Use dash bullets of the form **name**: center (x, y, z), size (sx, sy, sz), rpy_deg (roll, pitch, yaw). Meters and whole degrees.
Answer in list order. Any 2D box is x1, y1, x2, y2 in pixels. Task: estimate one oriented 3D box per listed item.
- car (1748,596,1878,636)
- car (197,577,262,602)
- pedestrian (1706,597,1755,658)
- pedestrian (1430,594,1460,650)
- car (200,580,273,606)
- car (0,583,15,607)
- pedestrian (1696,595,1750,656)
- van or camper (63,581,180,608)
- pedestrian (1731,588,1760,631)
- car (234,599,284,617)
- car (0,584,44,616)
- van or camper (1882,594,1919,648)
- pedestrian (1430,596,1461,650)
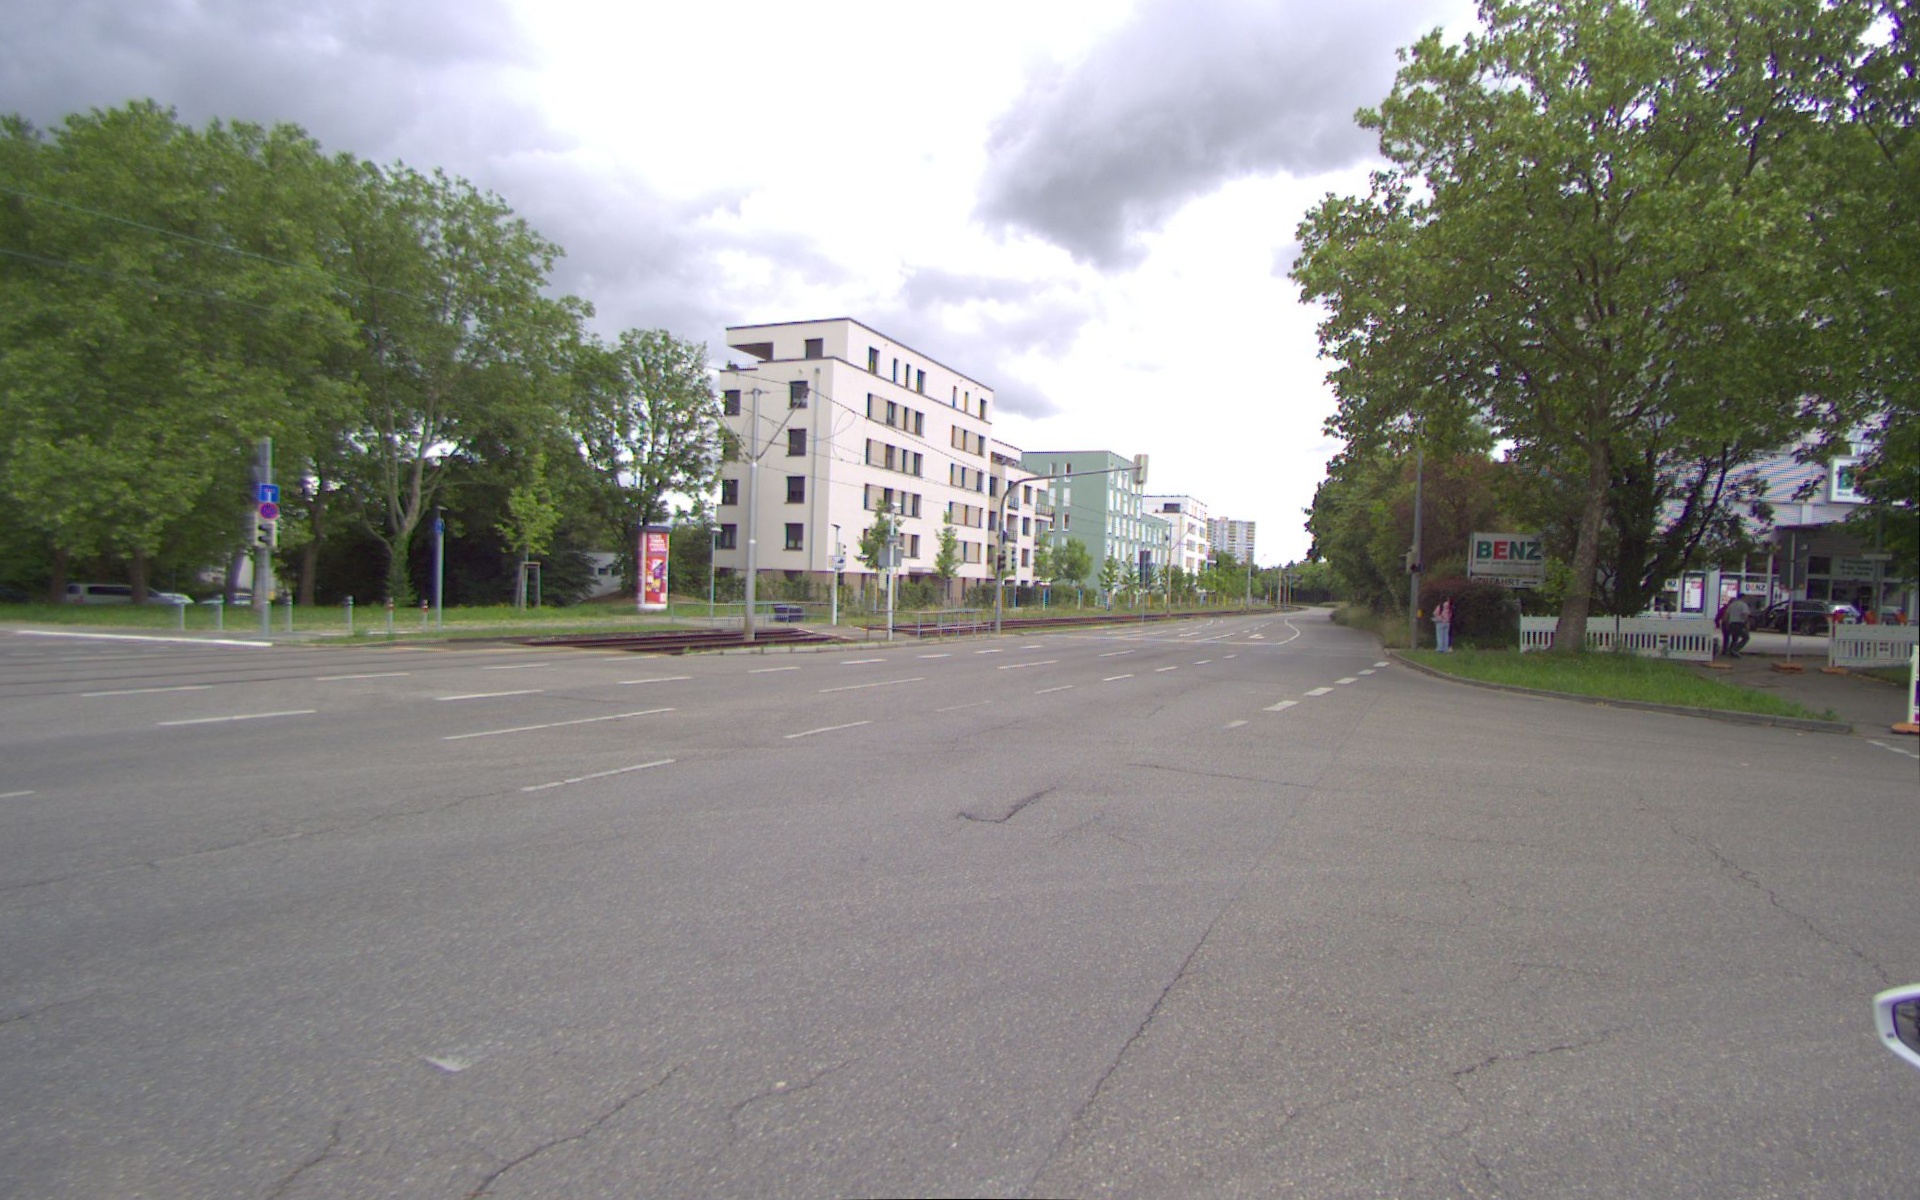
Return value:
- **car**: center (35.043, 0.627, 41.424), size (1.700, 1.520, 4.269), rpy_deg (2, 0, 0)
- **car**: center (-54.588, -0.786, 75.072), size (3.757, 1.752, 1.644), rpy_deg (2, 0, -42)
- **pedestrian**: center (20.222, 0.709, 26.376), size (0.643, 1.559, 0.772), rpy_deg (2, 0, -3)
- **pedestrian**: center (13.569, 0.616, 28.109), size (0.676, 1.509, 0.698), rpy_deg (2, 0, 30)
- **car**: center (-50.363, -0.498, 69.951), size (1.667, 1.671, 3.807), rpy_deg (2, 1, 23)
- **car**: center (-65.484, -0.410, 66.777), size (3.396, 1.586, 1.658), rpy_deg (2, 0, -19)
- **pedestrian**: center (20.856, 0.696, 27.478), size (0.834, 1.607, 0.796), rpy_deg (2, 0, 6)
- **van or camper**: center (-49.582, -0.315, 59.501), size (1.830, 1.554, 5.001), rpy_deg (2, 1, 27)
- **pedestrian**: center (33.483, 0.408, 42.824), size (0.608, 1.768, 0.739), rpy_deg (2, 0, 0)
- **car**: center (-55.297, 0.642, 79.266), size (3.116, 1.362, 1.429), rpy_deg (1, 1, -42)
- **car**: center (-52.008, -0.007, 53.982), size (1.633, 1.684, 3.782), rpy_deg (2, 0, 25)
- **van or camper**: center (31.575, 0.695, 31.395), size (1.810, 1.706, 3.999), rpy_deg (1, 1, -1)
- **pedestrian**: center (13.901, 0.645, 28.750), size (0.707, 1.509, 0.698), rpy_deg (2, 0, 31)
